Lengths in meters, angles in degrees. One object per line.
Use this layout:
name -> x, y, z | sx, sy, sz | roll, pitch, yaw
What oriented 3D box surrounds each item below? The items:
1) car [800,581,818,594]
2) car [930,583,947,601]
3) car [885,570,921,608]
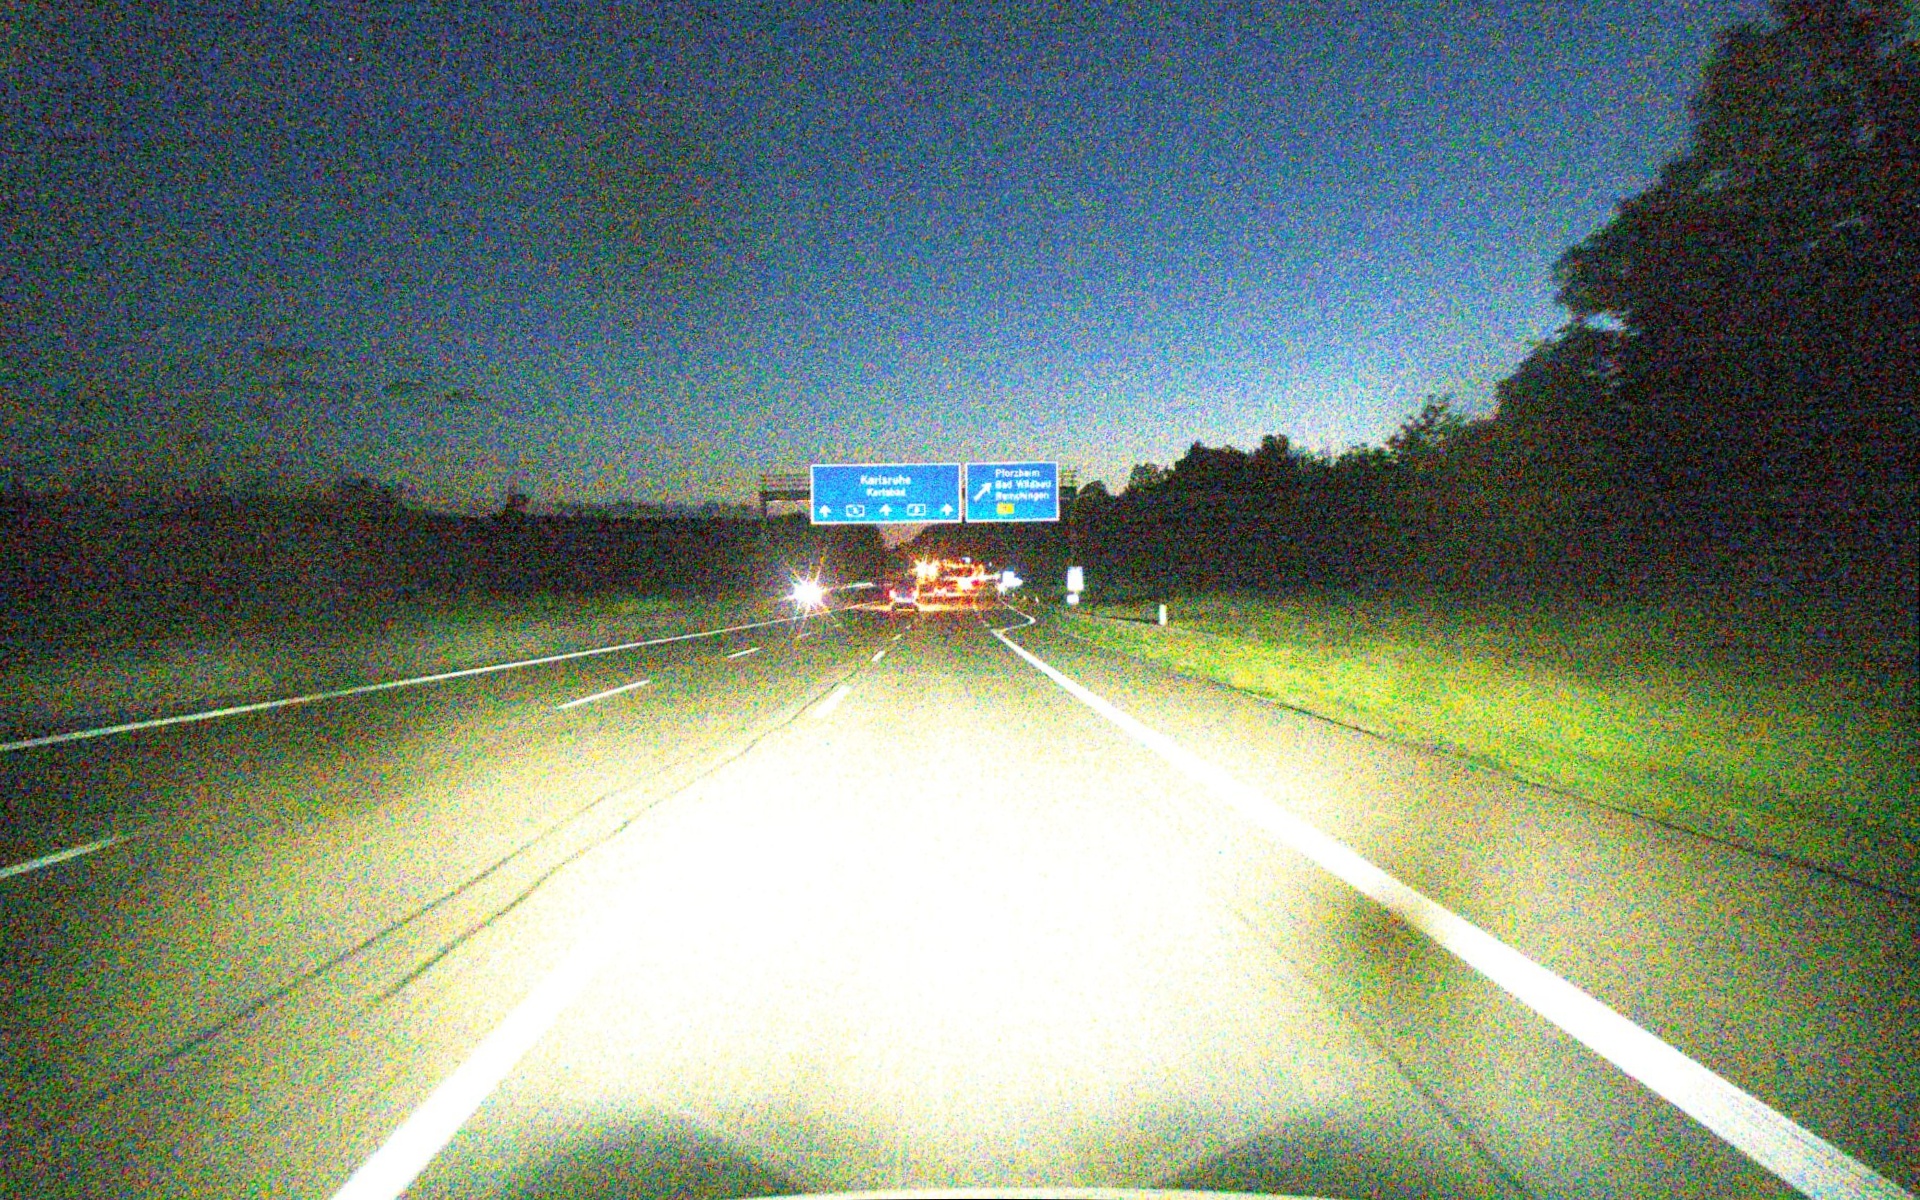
car -> -21.837, -1.773, 239.490 | 1.952, 1.776, 5.072 | 1, 0, 1
car -> -3.349, -1.262, 259.570 | 2.729, 2.781, 6.298 | 0, -1, 0
car -> -4.389, -0.788, 126.780 | 2.730, 2.781, 6.296 | 0, -1, -2
